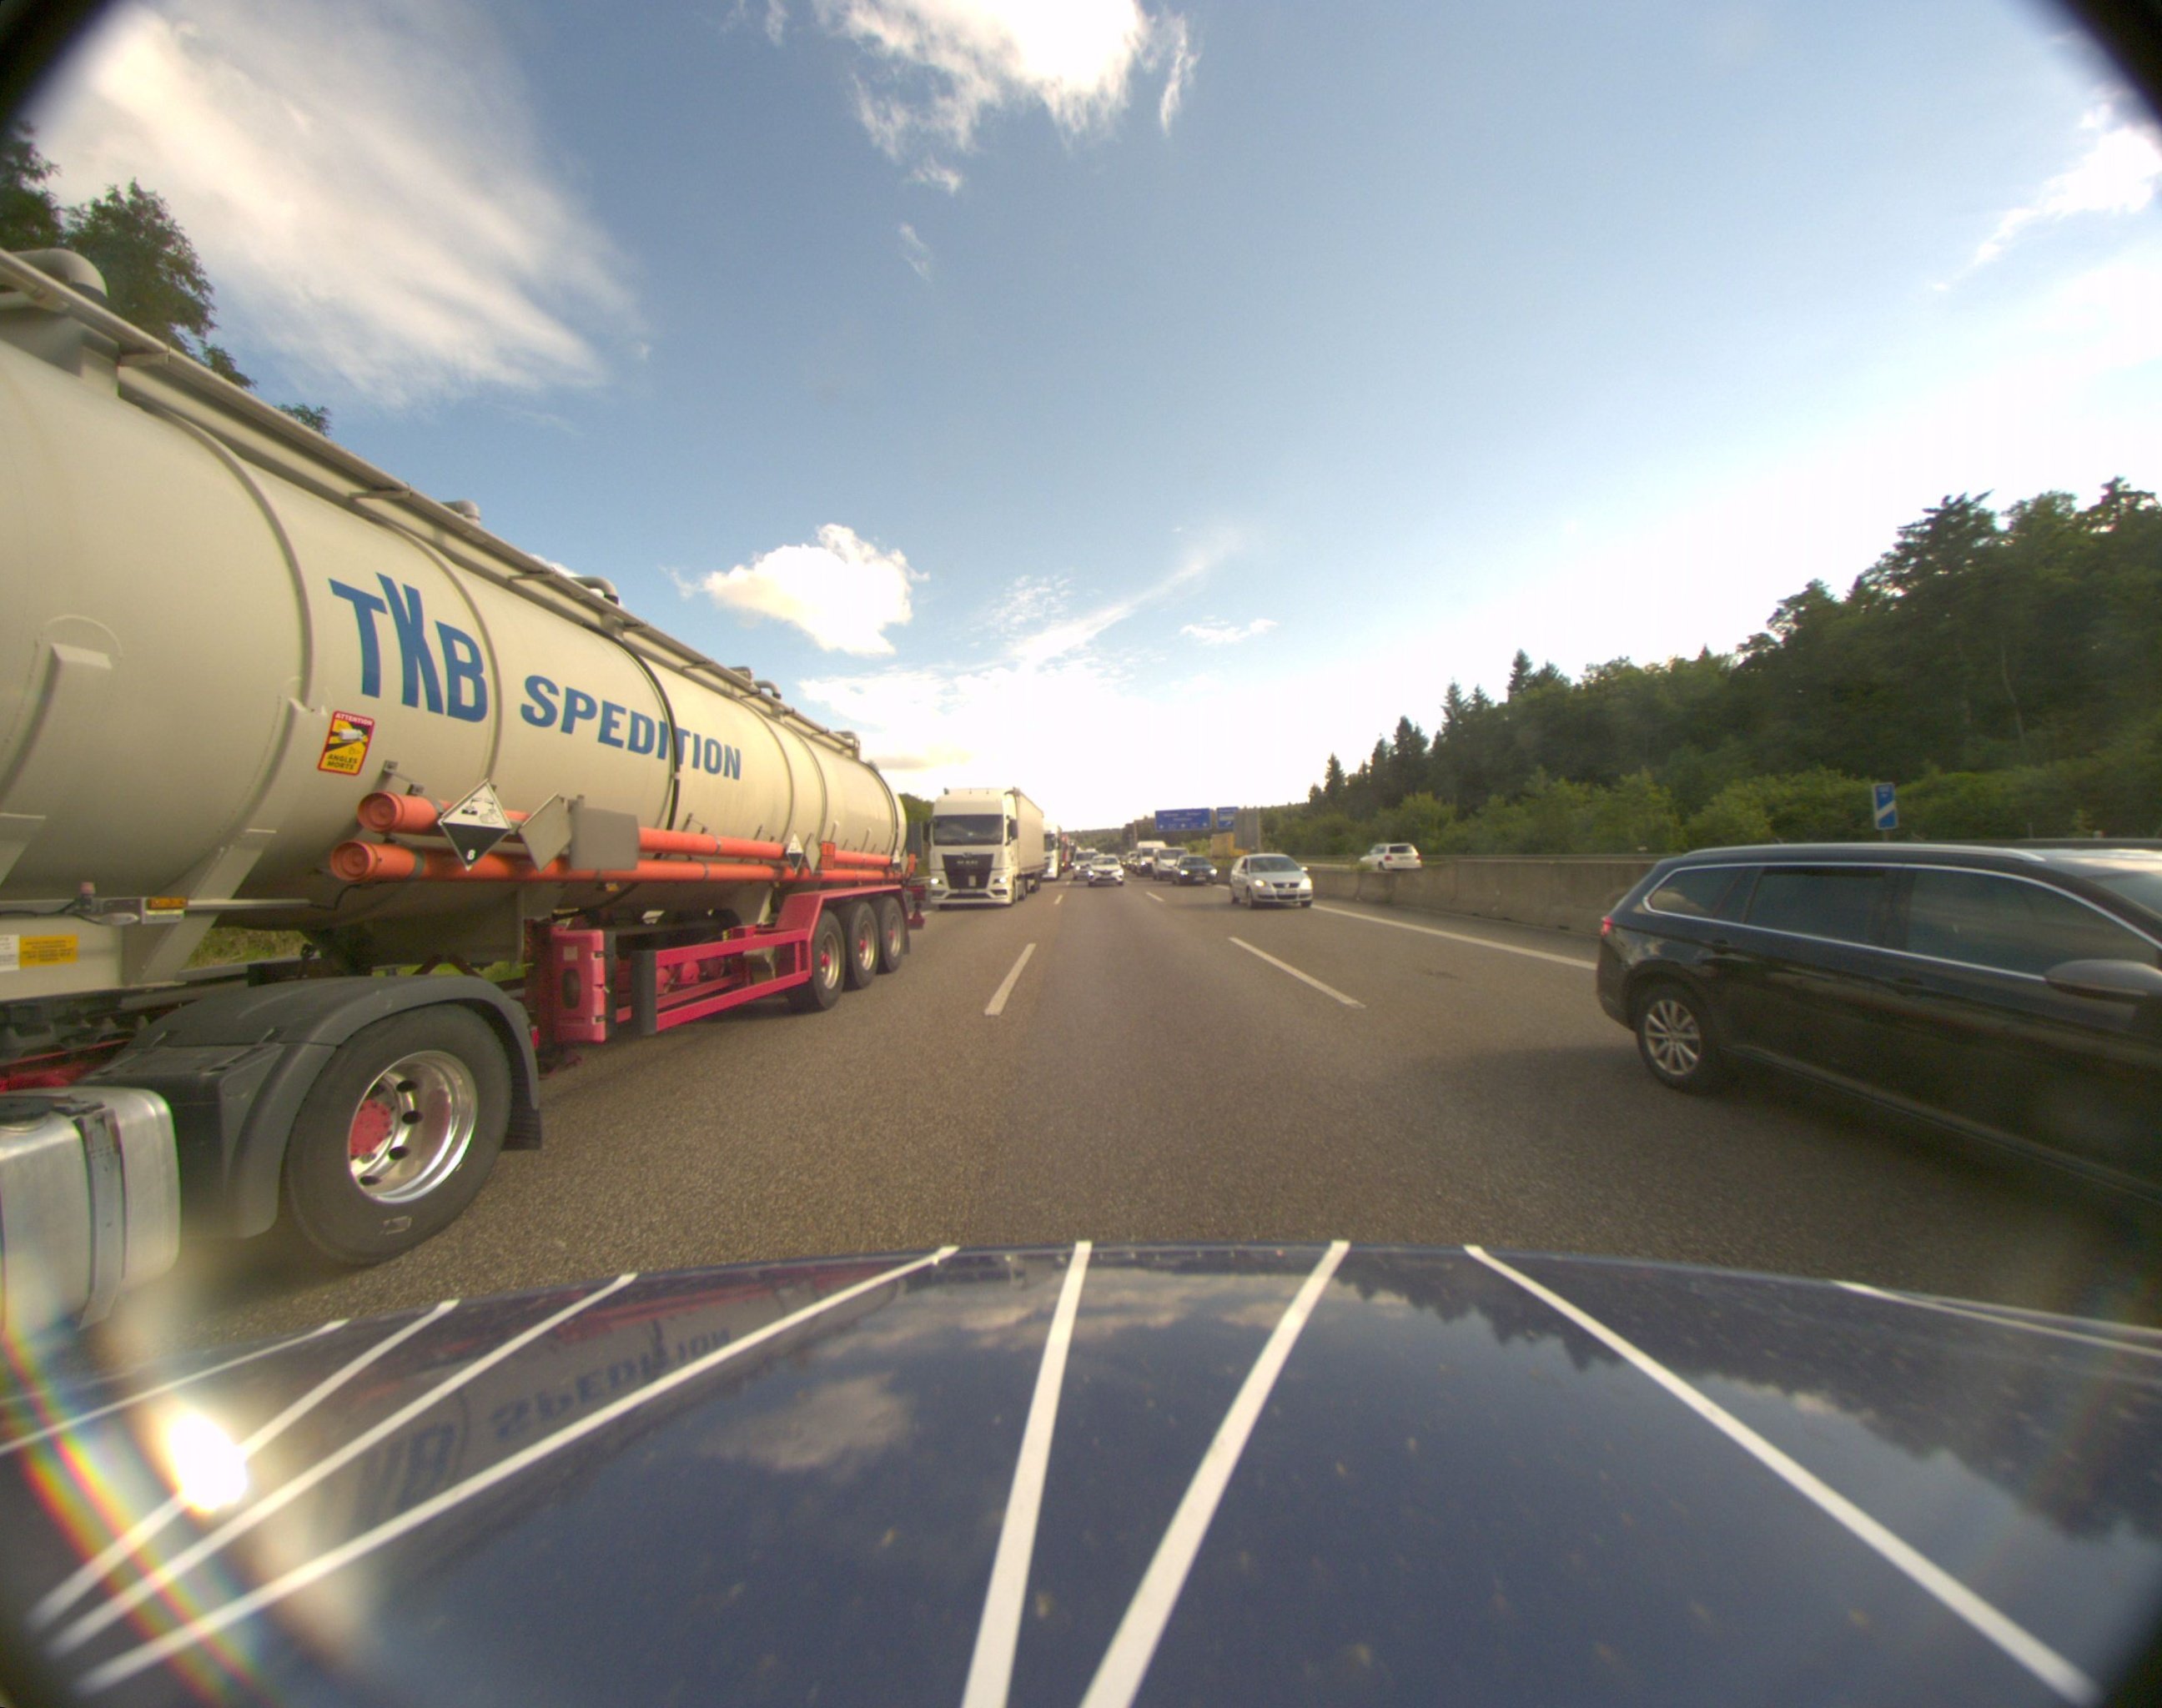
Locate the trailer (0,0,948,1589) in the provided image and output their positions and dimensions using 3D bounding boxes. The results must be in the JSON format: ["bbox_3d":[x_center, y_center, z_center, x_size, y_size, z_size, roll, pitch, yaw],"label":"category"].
[{"bbox_3d":[-3.855,-0.281,7.304,2.805,4.003,11.182,-2,0,1],"label":"trailer"}]

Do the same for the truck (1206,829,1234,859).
[{"bbox_3d":[20.647,-1.507,113.010,2.841,4.178,6.078,-2,1,0],"label":"truck"}]

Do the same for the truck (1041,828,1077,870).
[{"bbox_3d":[-2.261,-0.572,82.785,2.840,4.178,12.045,-2,1,2],"label":"truck"}]

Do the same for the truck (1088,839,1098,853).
[{"bbox_3d":[3.826,-2.455,236.531,2.840,4.178,12.045,-2,1,2],"label":"truck"}]

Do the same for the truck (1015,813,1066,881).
[{"bbox_3d":[-2.633,-0.459,51.212,2.841,4.177,5.707,-2,0,1],"label":"truck"}]

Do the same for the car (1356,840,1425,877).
[{"bbox_3d":[16.386,0.230,40.484,1.857,1.799,4.323,-2,0,0],"label":"car"}]

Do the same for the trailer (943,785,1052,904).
[{"bbox_3d":[-3.162,-0.362,33.021,2.833,4.047,13.371,-2,0,1],"label":"trailer"}]

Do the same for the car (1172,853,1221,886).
[{"bbox_3d":[5.585,0.707,37.142,1.809,1.423,3.994,-2,0,1],"label":"car"}]

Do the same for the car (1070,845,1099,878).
[{"bbox_3d":[0.246,0.494,51.319,1.809,2.052,4.770,-2,0,1],"label":"car"}]

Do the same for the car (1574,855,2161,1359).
[{"bbox_3d":[4.275,0.780,2.924,1.915,1.469,4.569,-2,0,3],"label":"car"}]

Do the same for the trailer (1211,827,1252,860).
[{"bbox_3d":[20.635,-1.444,105.257,2.841,4.178,13.560,-2,1,0],"label":"trailer"}]

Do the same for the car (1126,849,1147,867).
[{"bbox_3d":[5.895,0.389,81.220,1.920,1.785,3.811,-2,0,1],"label":"car"}]

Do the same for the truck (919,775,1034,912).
[{"bbox_3d":[-3.322,-0.322,25.721,2.841,4.048,5.707,-2,1,1],"label":"truck"}]

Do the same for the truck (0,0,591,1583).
[{"bbox_3d":[-4.015,-0.253,0.891,2.810,4.020,5.903,-2,1,1],"label":"truck"}]

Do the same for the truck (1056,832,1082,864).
[{"bbox_3d":[-1.657,-0.828,107.802,2.840,4.178,12.045,-2,1,2],"label":"truck"}]

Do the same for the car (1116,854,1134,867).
[{"bbox_3d":[5.188,0.757,90.325,1.920,1.535,3.811,-2,0,1],"label":"car"}]

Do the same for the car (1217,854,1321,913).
[{"bbox_3d":[5.230,0.751,21.784,1.809,1.423,4.666,-2,0,1],"label":"car"}]

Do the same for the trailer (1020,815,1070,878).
[{"bbox_3d":[-2.529,-0.506,58.345,2.841,4.177,13.613,-2,0,1],"label":"trailer"}]

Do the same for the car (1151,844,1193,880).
[{"bbox_3d":[5.462,0.450,46.028,1.947,1.953,4.847,-2,0,1],"label":"car"}]

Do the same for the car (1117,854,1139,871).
[{"bbox_3d":[4.387,0.781,71.406,1.809,1.423,3.660,-2,0,1],"label":"car"}]

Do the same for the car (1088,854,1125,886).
[{"bbox_3d":[1.272,0.793,40.100,1.809,1.488,4.666,-2,0,1],"label":"car"}]

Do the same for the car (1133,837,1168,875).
[{"bbox_3d":[5.010,0.135,55.446,2.054,2.557,5.861,-1,0,1],"label":"car"}]
